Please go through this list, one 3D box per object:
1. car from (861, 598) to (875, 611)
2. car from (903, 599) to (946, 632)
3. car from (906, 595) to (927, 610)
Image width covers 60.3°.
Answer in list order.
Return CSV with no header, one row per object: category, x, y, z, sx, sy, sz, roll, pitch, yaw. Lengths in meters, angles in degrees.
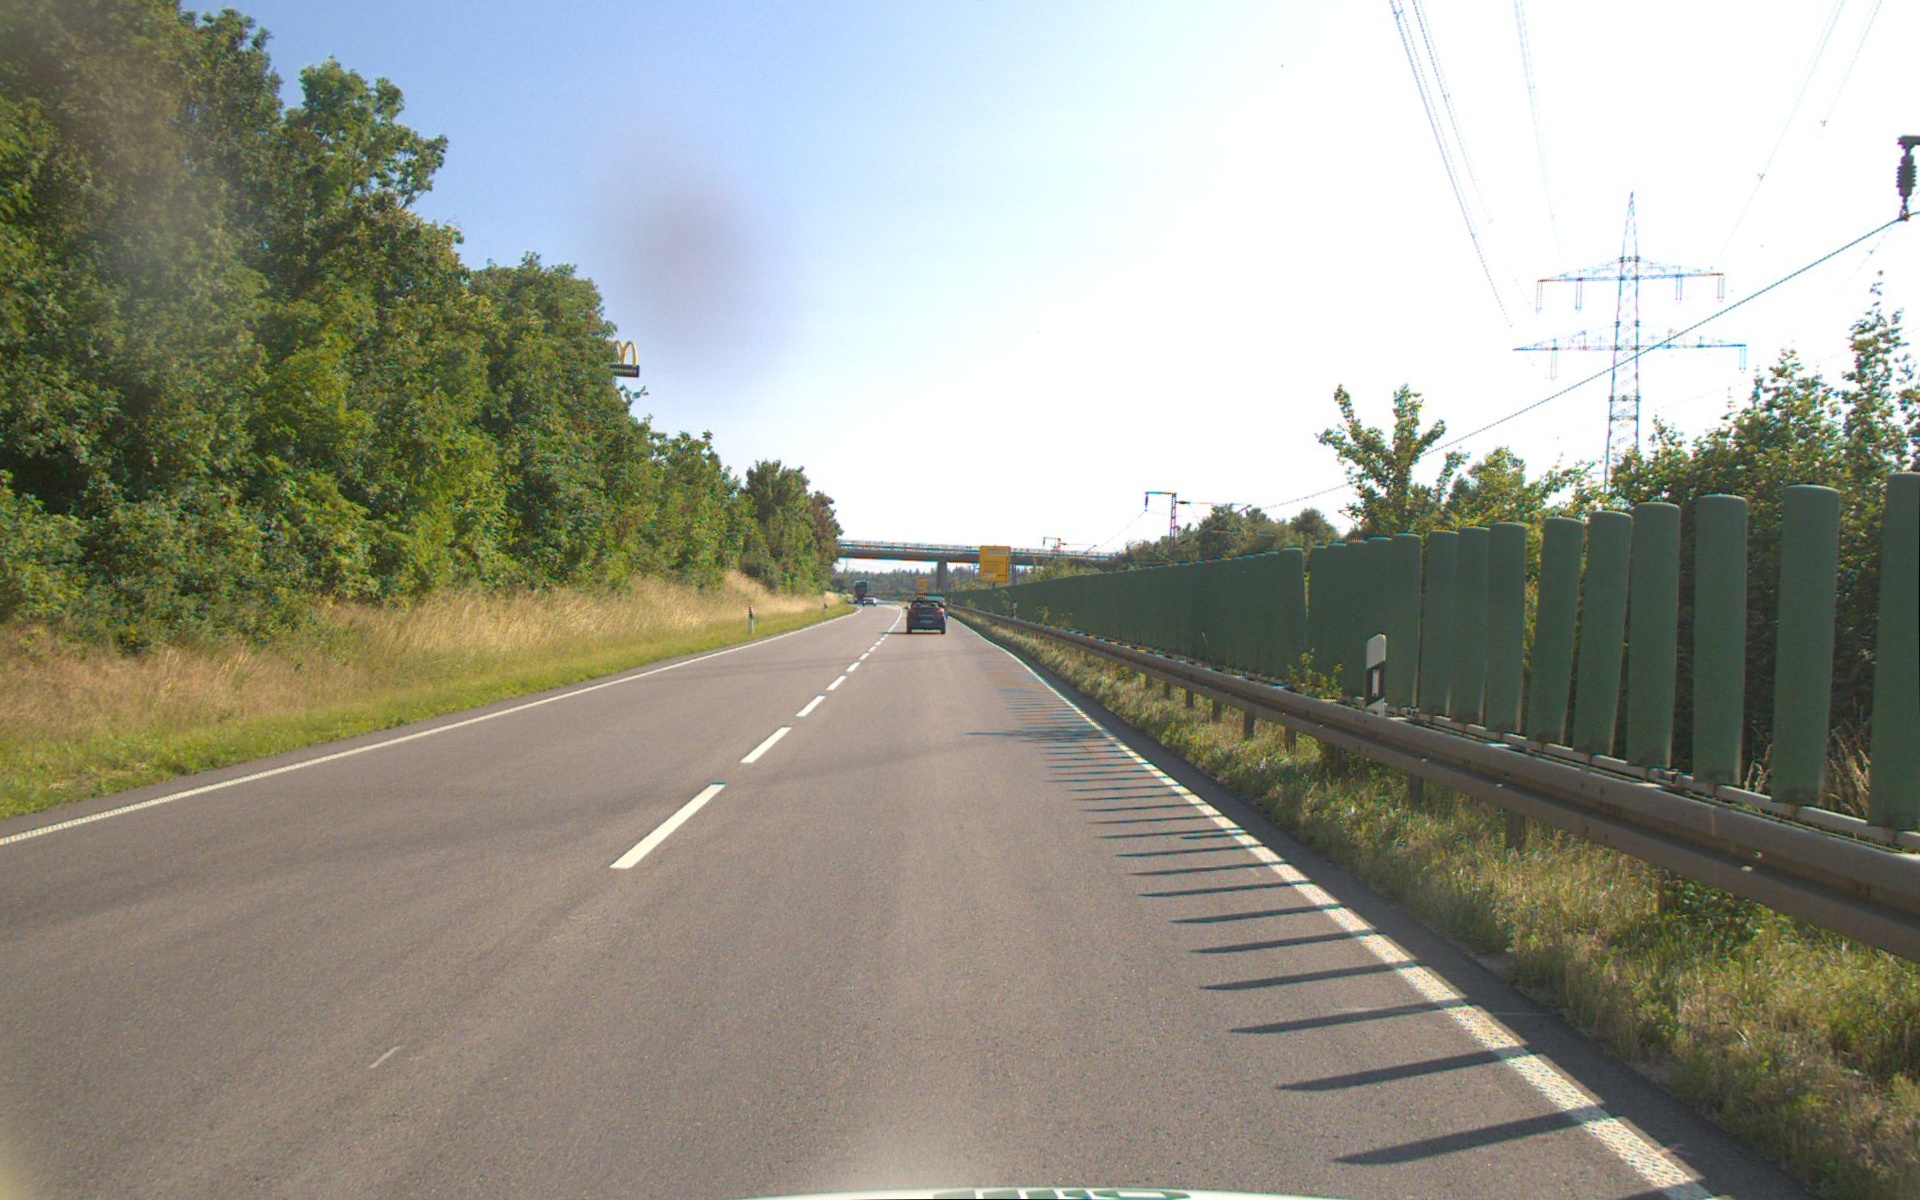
car,-11.986,0.564,215.048,1.760,1.621,3.998,1,0,-3
car,-1.493,0.642,68.312,1.630,1.283,3.998,1,0,-3
car,-4.173,0.242,158.936,1.857,1.443,3.998,1,0,-3
